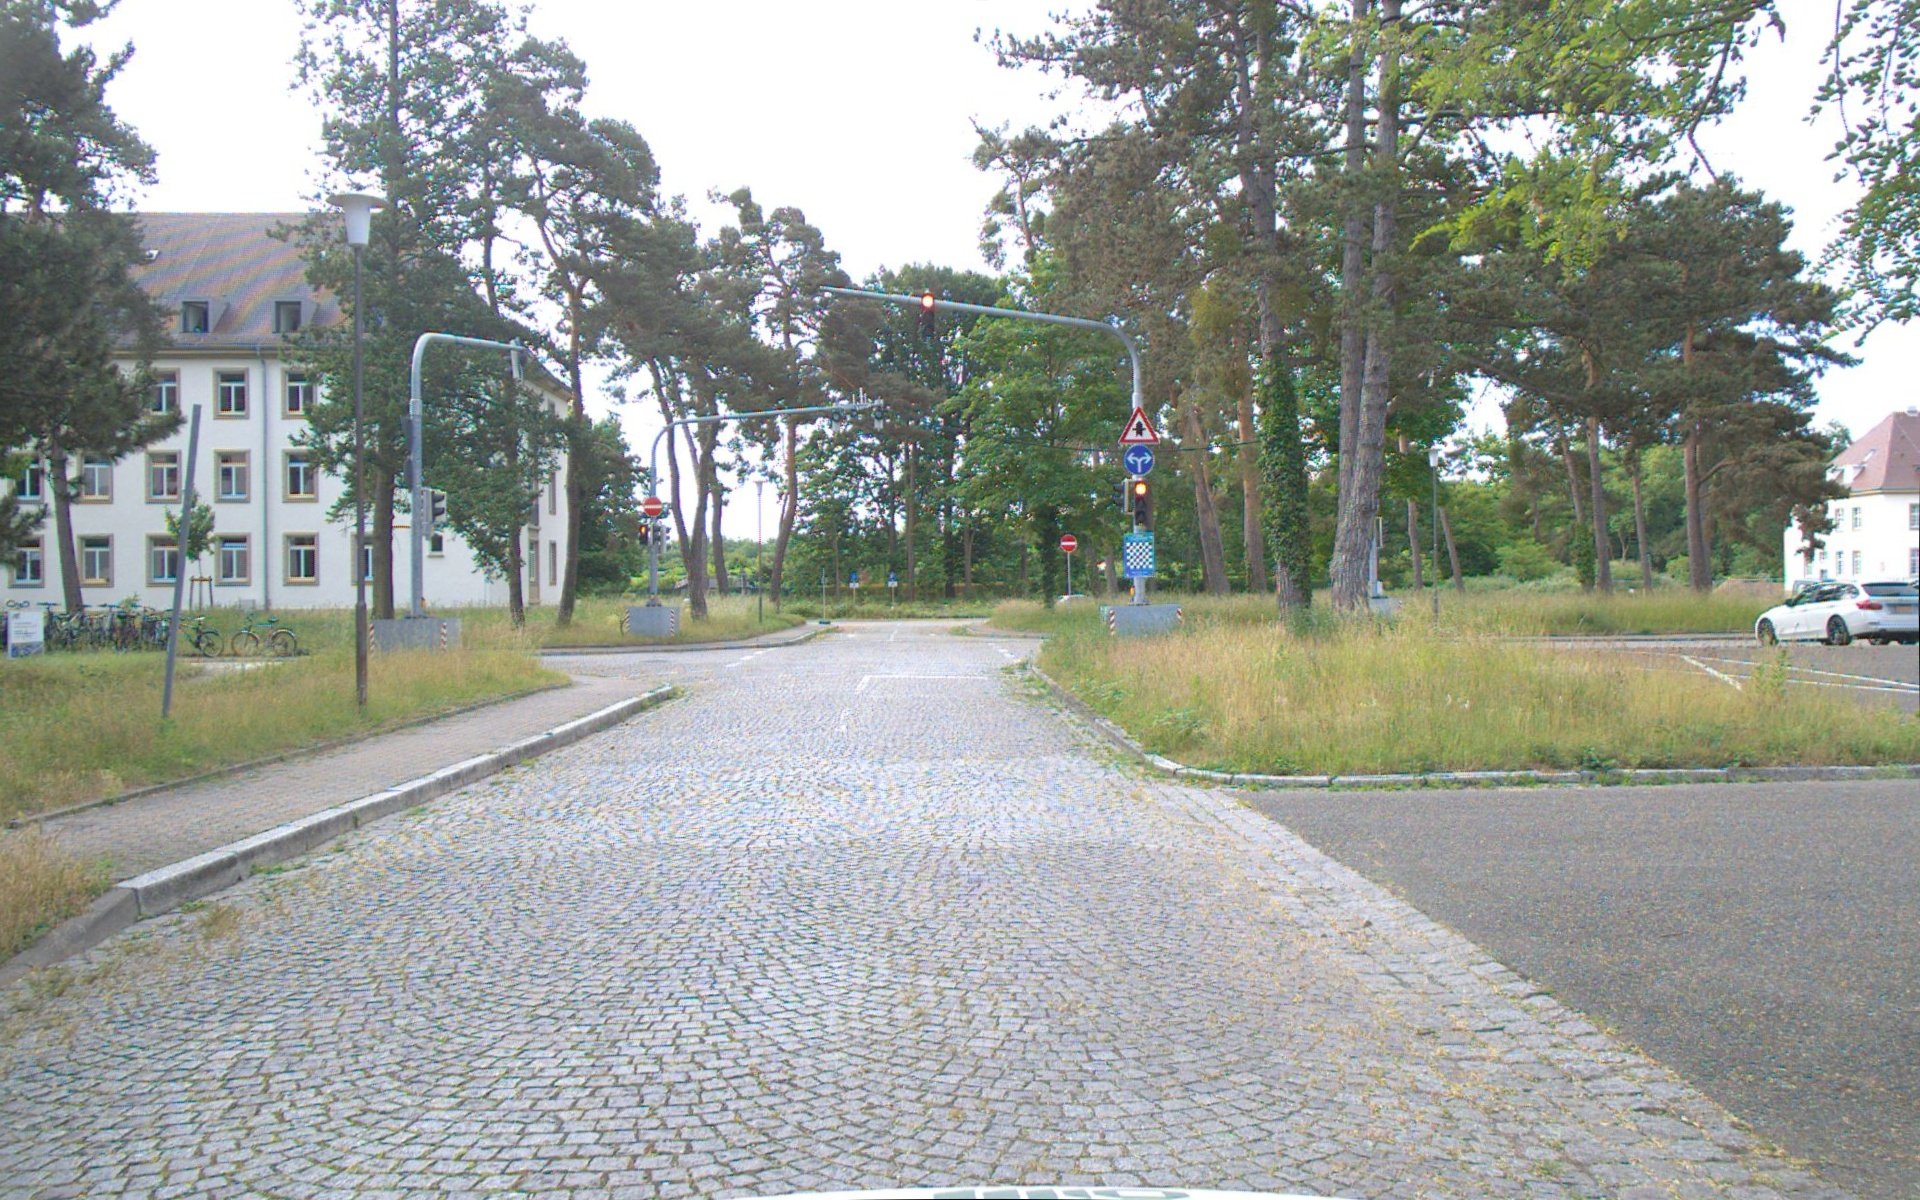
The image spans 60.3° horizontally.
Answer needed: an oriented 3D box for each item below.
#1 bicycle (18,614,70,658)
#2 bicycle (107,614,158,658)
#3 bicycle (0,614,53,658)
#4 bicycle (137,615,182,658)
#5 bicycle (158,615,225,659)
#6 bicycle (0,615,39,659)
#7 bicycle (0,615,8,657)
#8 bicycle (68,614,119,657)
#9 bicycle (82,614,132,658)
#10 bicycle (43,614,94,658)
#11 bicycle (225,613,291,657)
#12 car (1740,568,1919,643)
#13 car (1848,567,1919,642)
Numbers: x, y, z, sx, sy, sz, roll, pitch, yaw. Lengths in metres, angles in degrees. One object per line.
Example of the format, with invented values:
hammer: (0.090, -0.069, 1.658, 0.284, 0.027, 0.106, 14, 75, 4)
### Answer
bicycle: (-23.962, 0.939, 43.295, 0.504, 1.098, 1.585, -1, 0, -1)
bicycle: (-21.685, 0.940, 43.358, 0.504, 1.098, 1.585, -1, 0, 1)
bicycle: (-24.406, 0.935, 43.270, 0.504, 1.098, 1.585, -1, 0, -1)
bicycle: (-21.023, 0.950, 43.474, 0.504, 1.098, 1.584, -1, 0, -4)
bicycle: (-19.584, 0.940, 42.148, 1.435, 1.098, 0.516, -1, 0, -4)
bicycle: (-24.784, 0.959, 43.247, 0.504, 1.098, 1.585, -1, 0, -1)
bicycle: (-25.566, 0.964, 43.215, 0.504, 1.098, 1.585, -1, 0, -1)
bicycle: (-22.734, 0.924, 43.413, 0.504, 1.098, 1.585, -1, 0, -1)
bicycle: (-22.379, 0.930, 43.423, 0.504, 1.098, 1.585, -1, 0, -1)
bicycle: (-23.352, 0.925, 43.341, 0.504, 1.098, 1.585, -1, 0, -1)
bicycle: (-17.983, 0.889, 42.380, 1.435, 1.084, 0.516, -1, 0, -4)
car: (19.848, 0.177, 37.552, 1.812, 1.513, 4.604, 1, -2, -4)
car: (22.435, 0.086, 37.765, 1.747, 1.634, 4.239, -1, -2, -4)
